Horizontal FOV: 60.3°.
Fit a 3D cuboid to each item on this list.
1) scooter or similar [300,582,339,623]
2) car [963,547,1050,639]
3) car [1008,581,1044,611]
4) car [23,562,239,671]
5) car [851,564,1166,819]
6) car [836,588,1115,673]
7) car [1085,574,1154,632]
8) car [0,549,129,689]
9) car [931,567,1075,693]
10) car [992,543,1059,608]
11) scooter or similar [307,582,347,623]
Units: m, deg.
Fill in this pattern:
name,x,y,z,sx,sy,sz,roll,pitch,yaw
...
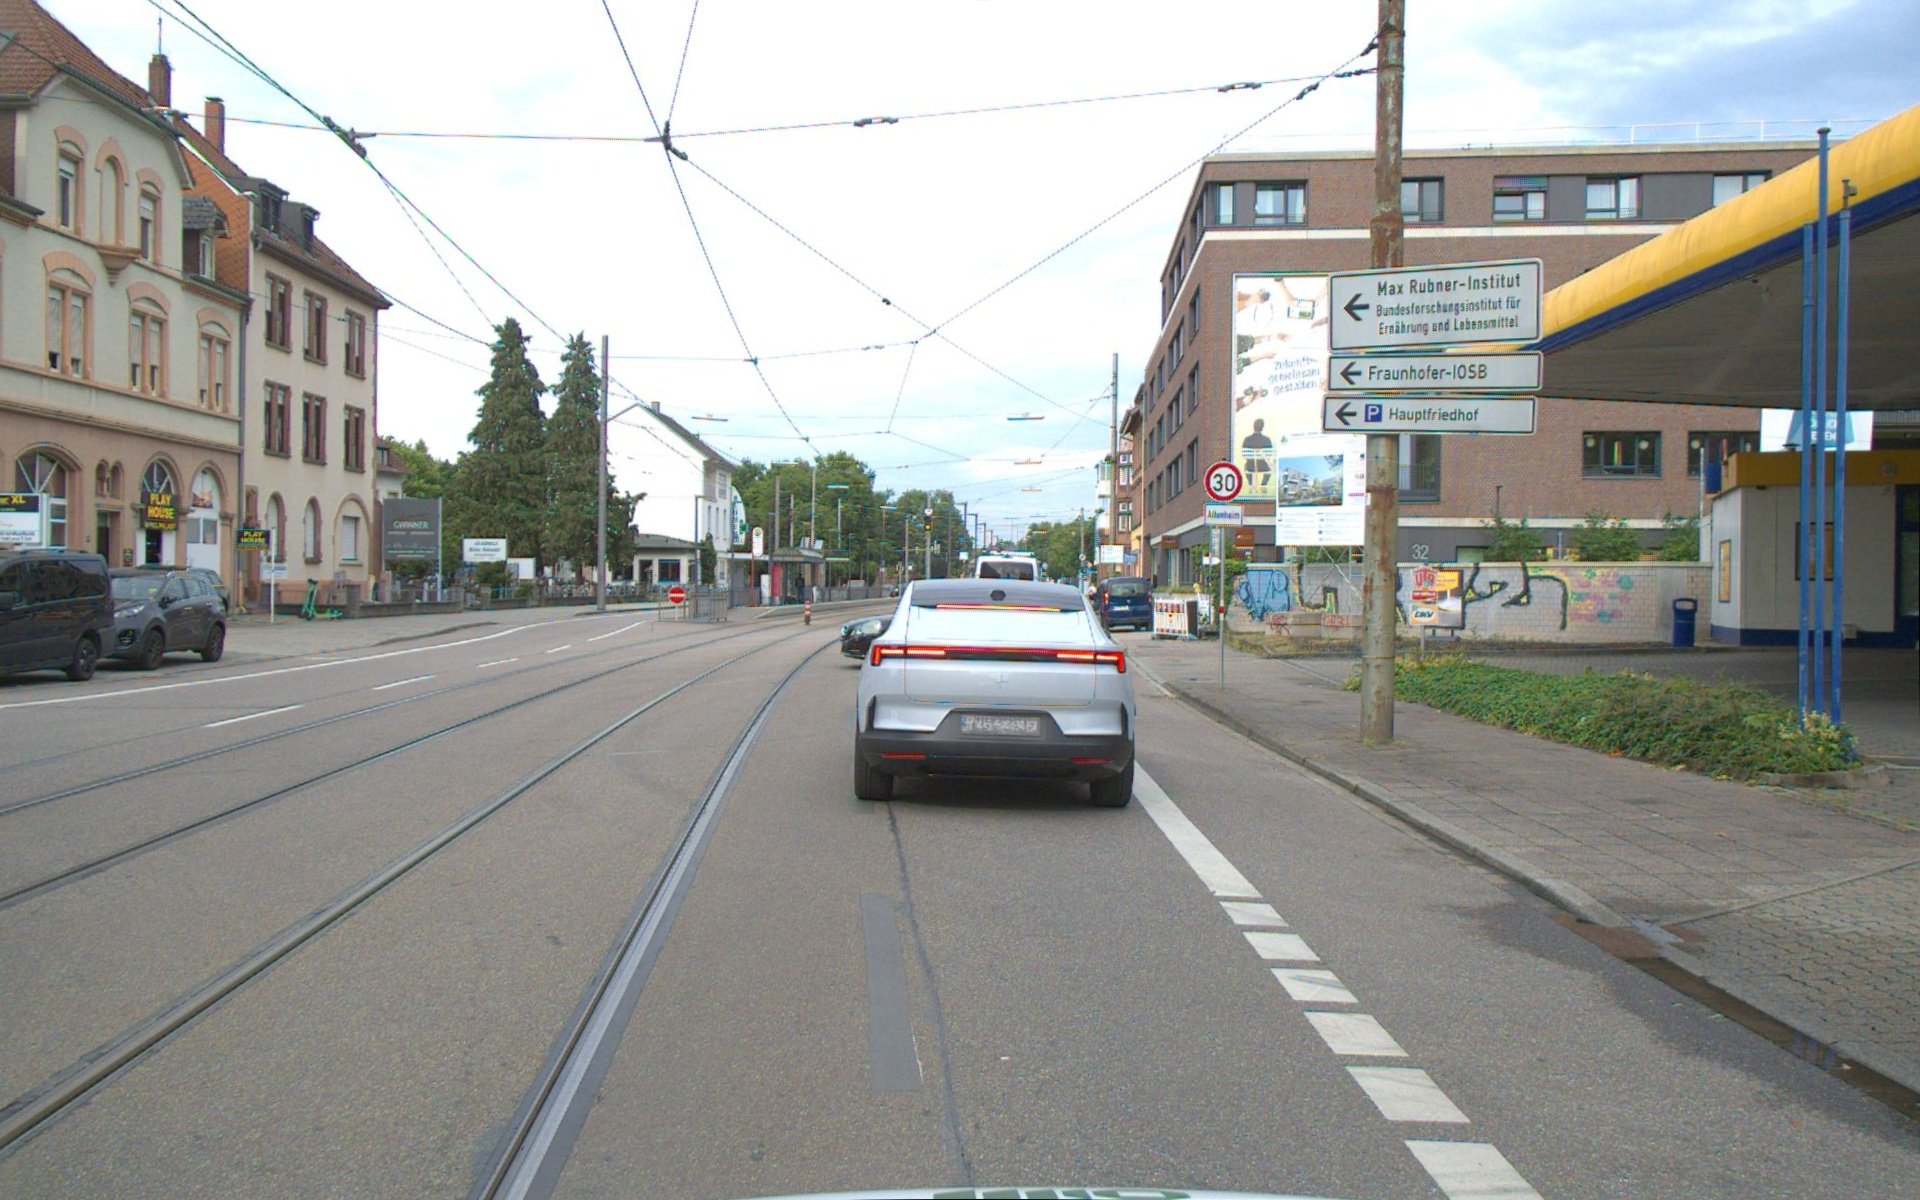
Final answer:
name,x,y,z,sx,sy,sz,roll,pitch,yaw
scooter or similar,-19.370,0.068,50.032,1.041,1.209,0.314,2,-1,-37
car,1.292,-0.194,48.384,2.172,2.465,4.949,2,0,-2
car,4.605,-0.286,116.058,1.954,2.049,3.996,2,0,-5
car,-14.589,0.277,29.385,1.808,1.748,4.191,2,0,-3
car,0.180,0.572,12.637,1.943,1.577,4.180,2,0,-4
car,0.226,0.526,29.744,4.779,1.452,1.949,0,0,-8
car,5.471,0.109,57.020,1.836,1.855,4.095,2,0,-2
car,-14.097,0.231,23.644,1.952,1.920,4.996,2,0,-2
car,0.601,0.448,26.216,1.929,1.787,3.835,2,0,-3
car,2.325,-0.848,60.094,2.096,2.183,4.742,2,0,-1
scooter or similar,-18.974,0.078,49.591,1.041,1.209,0.314,2,-1,-37
